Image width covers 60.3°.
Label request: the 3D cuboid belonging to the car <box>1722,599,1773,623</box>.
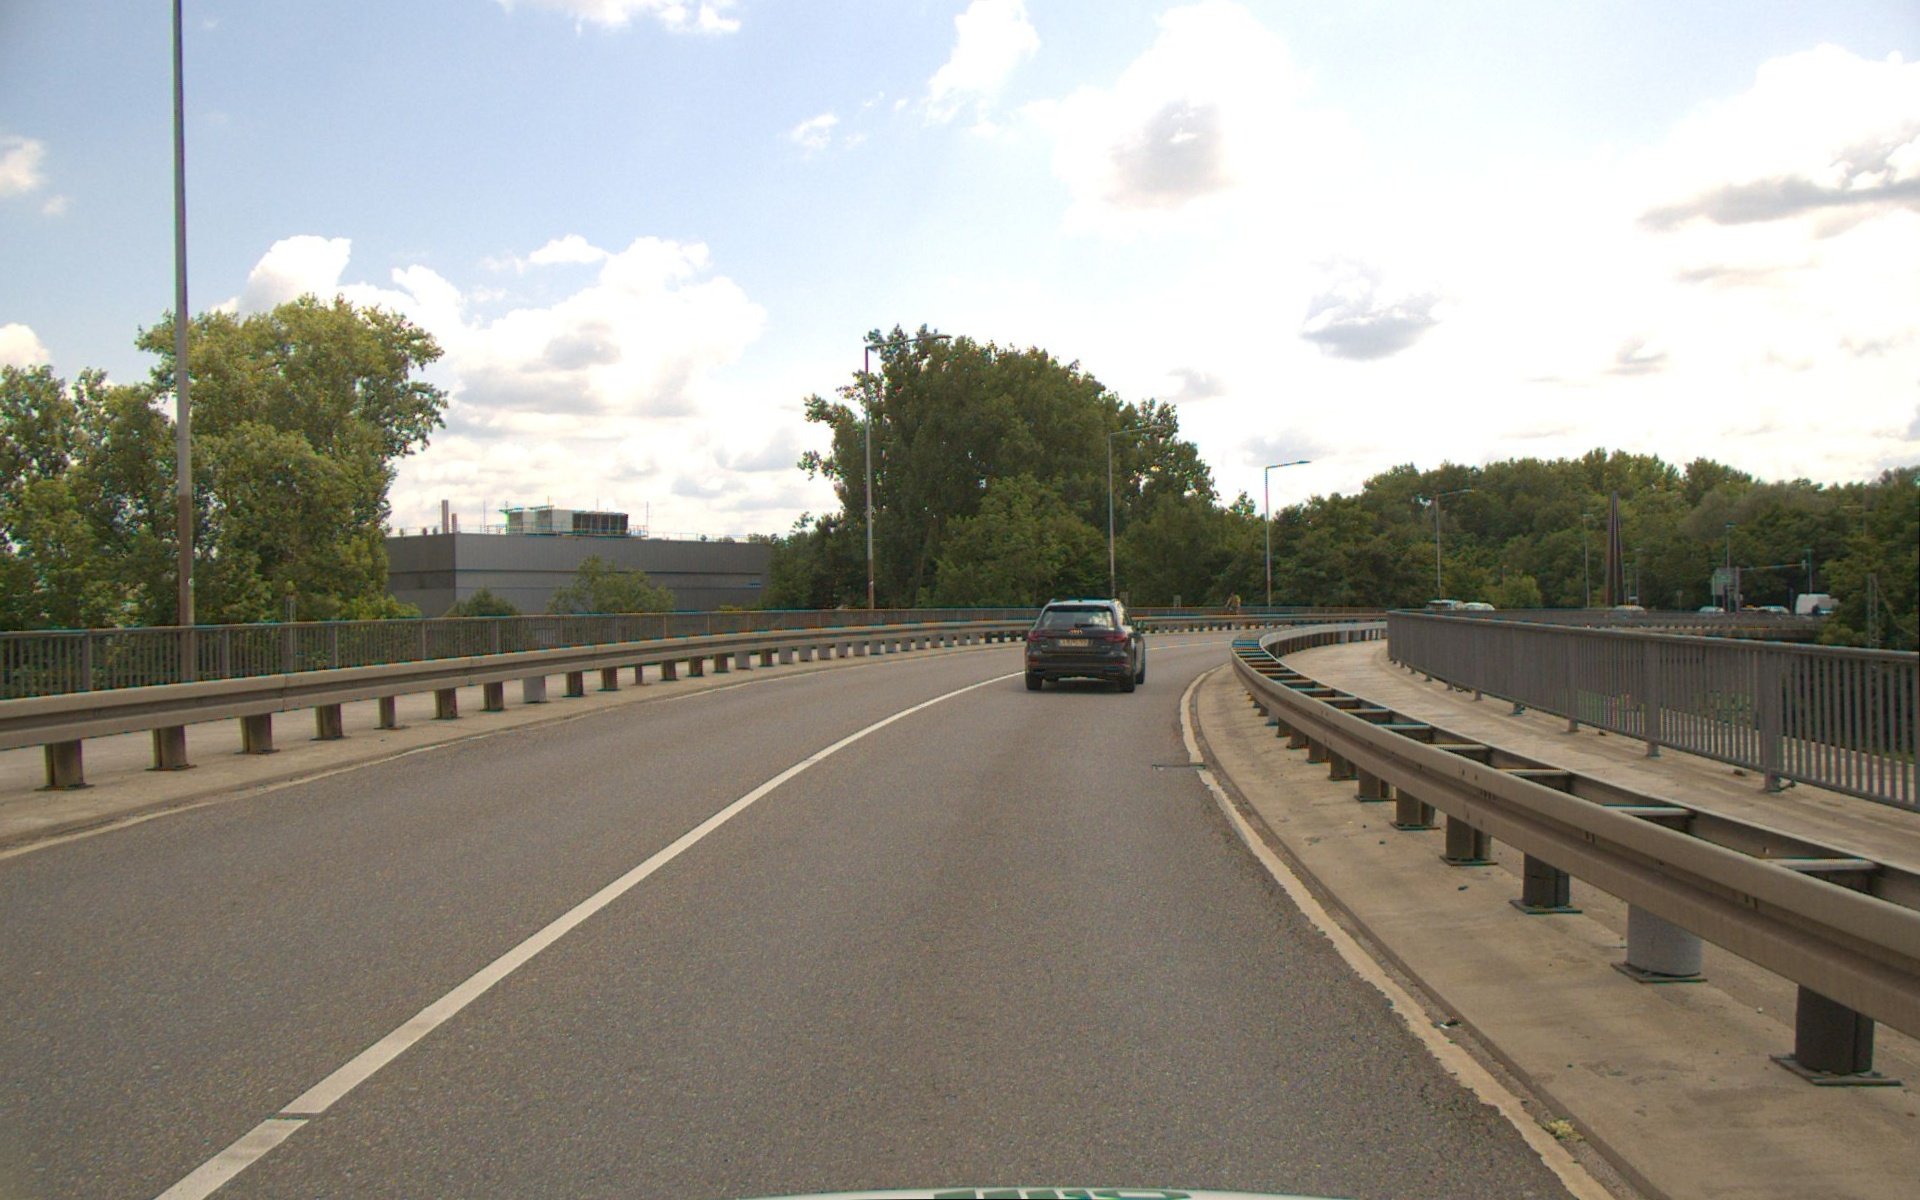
[{"bbox_3d":[56.265,0.810,118.117,3.814,1.680,1.716,1,0,-37],"label":"car"}]

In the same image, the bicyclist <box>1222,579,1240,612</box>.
[{"bbox_3d":[13.746,-0.226,83.804,0.751,1.630,0.947,0,-1,21],"label":"bicyclist"}]

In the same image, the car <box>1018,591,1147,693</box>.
[{"bbox_3d":[2.106,0.643,27.412,1.789,1.518,4.210,1,0,9],"label":"car"}]

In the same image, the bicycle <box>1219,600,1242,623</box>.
[{"bbox_3d":[13.699,0.588,83.668,0.753,1.114,2.115,0,0,21],"label":"bicycle"}]

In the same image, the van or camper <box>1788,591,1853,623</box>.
[{"bbox_3d":[67.982,0.583,130.644,5.173,2.381,2.256,1,1,-32],"label":"van or camper"}]
